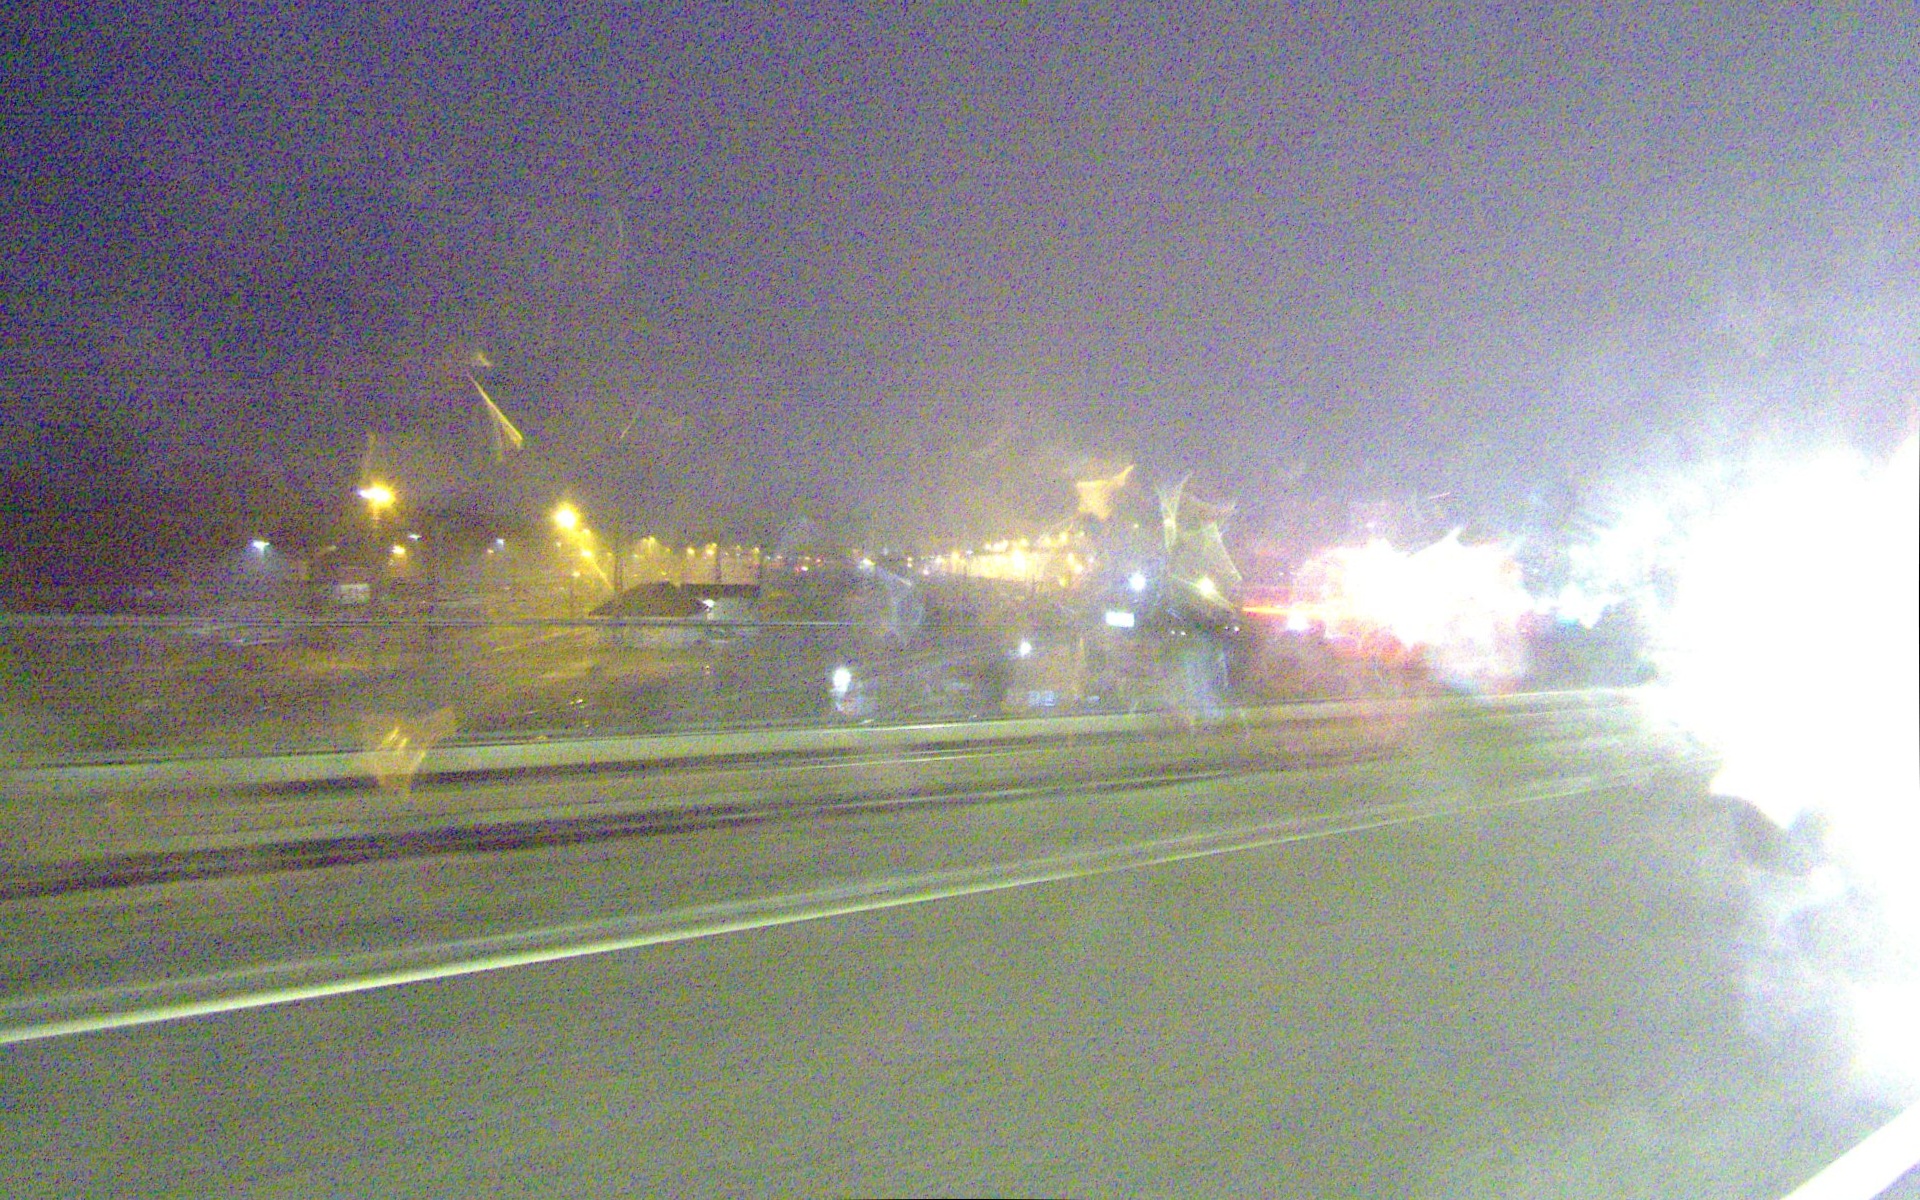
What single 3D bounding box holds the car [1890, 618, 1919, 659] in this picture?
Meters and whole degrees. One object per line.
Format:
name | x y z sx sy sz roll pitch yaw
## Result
car | 49.271 1.959 51.259 2.421 2.014 5.467 0 -1 40
